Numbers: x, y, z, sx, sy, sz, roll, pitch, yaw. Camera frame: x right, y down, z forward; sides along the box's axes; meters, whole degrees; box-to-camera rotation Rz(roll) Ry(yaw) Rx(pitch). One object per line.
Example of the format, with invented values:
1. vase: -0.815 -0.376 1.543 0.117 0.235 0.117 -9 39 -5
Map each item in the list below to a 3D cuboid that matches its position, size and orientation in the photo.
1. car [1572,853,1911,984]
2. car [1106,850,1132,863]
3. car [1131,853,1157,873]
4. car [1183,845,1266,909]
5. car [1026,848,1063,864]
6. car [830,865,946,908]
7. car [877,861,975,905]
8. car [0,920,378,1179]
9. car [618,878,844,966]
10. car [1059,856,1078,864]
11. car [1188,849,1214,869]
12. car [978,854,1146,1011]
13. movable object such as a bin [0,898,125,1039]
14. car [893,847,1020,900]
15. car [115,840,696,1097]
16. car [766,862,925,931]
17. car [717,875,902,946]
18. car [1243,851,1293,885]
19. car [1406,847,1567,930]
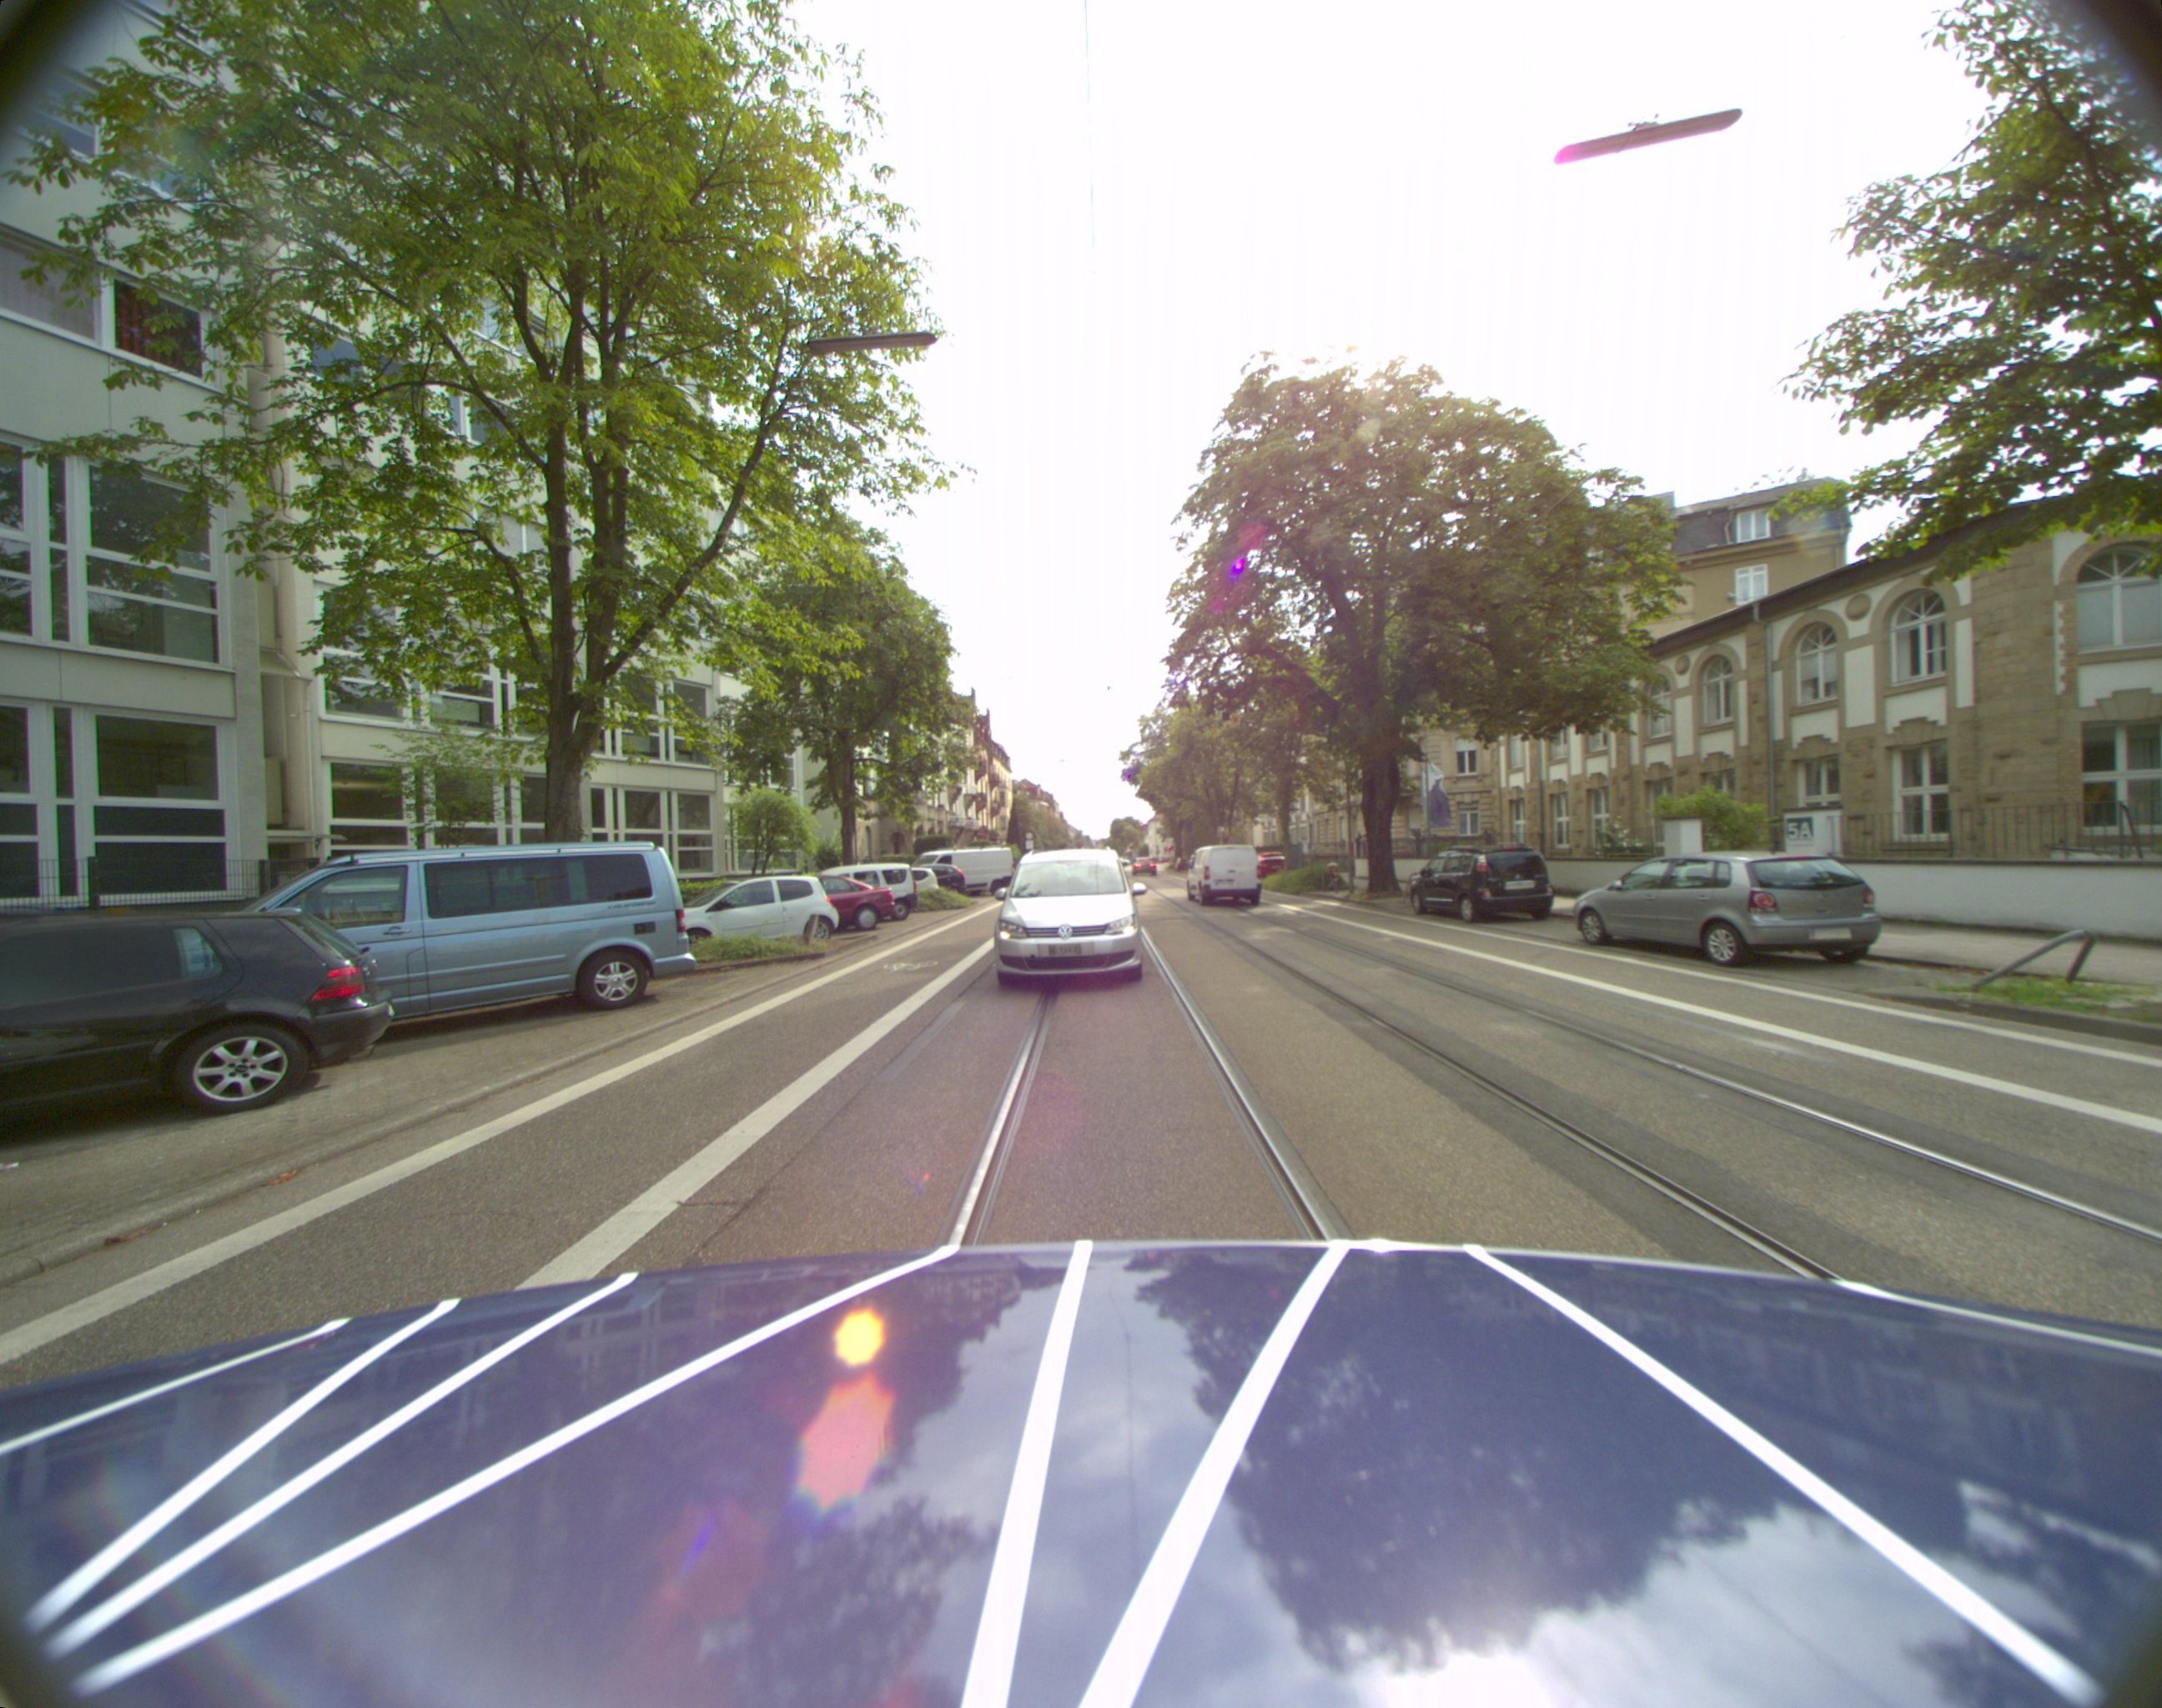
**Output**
1. car: 8.833 0.749 10.617 1.632 1.456 3.574 -2 0 1
2. car: 6.240 0.413 124.004 3.994 2.002 2.001 -2 0 9
3. car: 5.078 0.687 61.772 1.786 1.506 4.144 -2 0 1
4. car: 4.520 0.670 24.636 1.799 1.813 4.678 -2 0 1
5. car: -6.067 0.338 126.528 5.919 2.585 2.003 -2 0 29
6. car: -6.977 1.143 27.672 3.652 1.322 1.763 -3 1 -44
7. car: -6.483 1.173 31.805 3.649 1.580 1.764 -2 1 -25
8. car: -7.407 1.321 5.003 3.980 1.379 1.810 -3 -1 -44
9. car: -6.853 1.245 15.088 3.652 1.322 1.763 -3 1 -44
10. car: -2.894 1.337 173.190 4.002 1.797 1.997 -2 1 -17
11. car: 10.447 0.424 66.550 1.659 1.624 3.906 -2 0 1
12. car: -0.181 0.877 10.815 1.816 1.691 4.617 -2 0 1
13. movable object such as a bin: -12.247 1.282 8.485 1.334 1.450 1.400 -2 0 5
14. car: -5.726 0.826 35.485 5.449 2.163 2.142 -2 1 -40
15. car: -6.991 0.936 8.449 4.354 2.052 1.994 -2 0 -45
16. car: -6.547 1.114 21.305 3.777 1.609 1.809 -2 1 -40
17. car: -6.510 1.285 18.387 3.777 1.331 1.809 -2 1 -40
18. car: 9.751 0.691 39.939 1.659 1.624 3.906 -2 0 1
19. car: 8.980 0.690 17.206 1.659 1.624 3.725 -2 0 1
